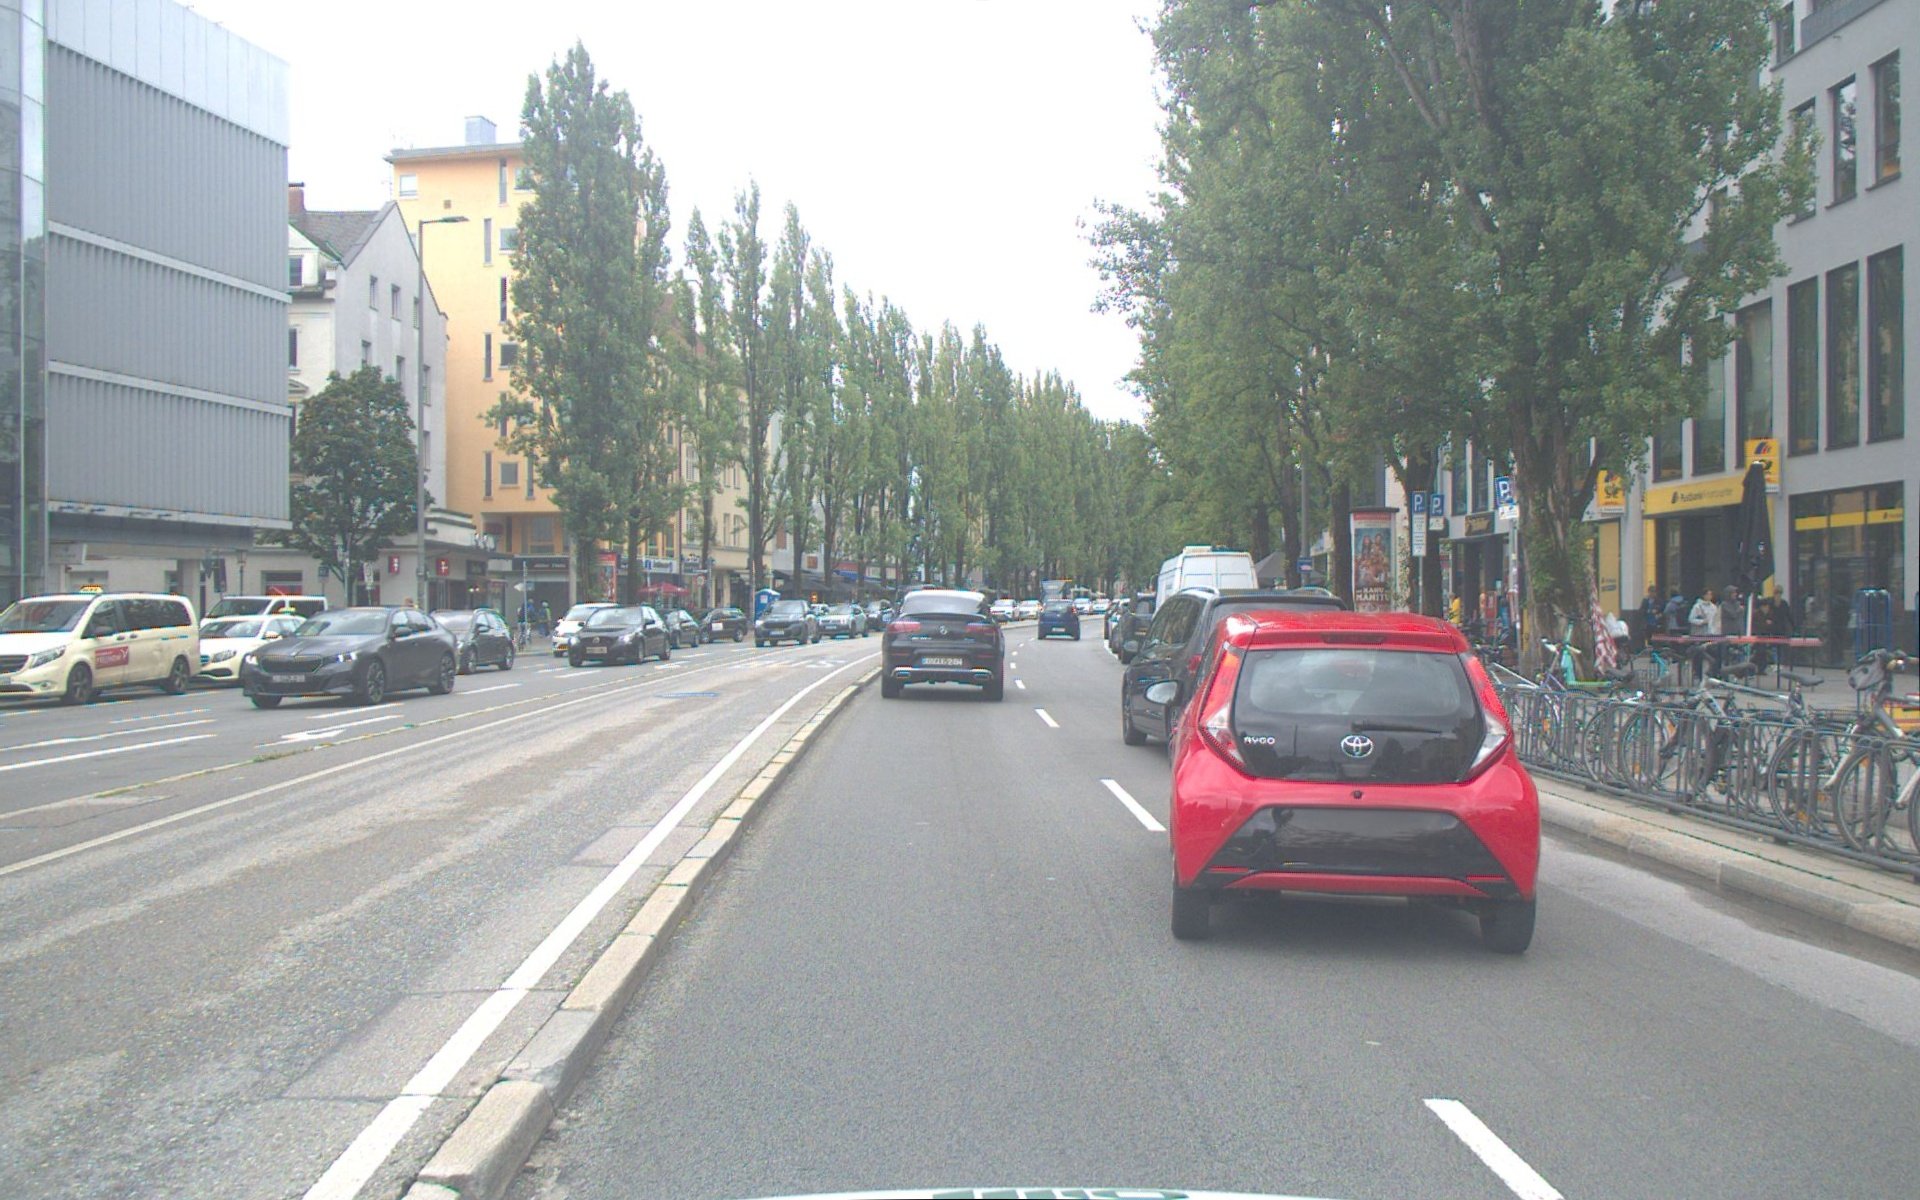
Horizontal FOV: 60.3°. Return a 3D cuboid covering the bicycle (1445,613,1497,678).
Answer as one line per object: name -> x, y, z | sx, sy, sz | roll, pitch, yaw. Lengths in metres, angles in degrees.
bicycle -> 9.675, 0.846, 31.339 | 0.468, 1.180, 1.633 | 0, 0, -1

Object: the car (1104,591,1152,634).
car -> 7.238, 0.541, 70.940 | 1.884, 1.730, 4.653 | 1, -1, 8

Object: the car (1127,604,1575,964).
car -> 1.815, 0.786, 8.711 | 1.630, 1.471, 3.597 | 1, -1, 2

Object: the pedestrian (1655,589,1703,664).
pedestrian -> 15.729, 0.569, 36.197 | 0.677, 1.613, 0.772 | -1, 0, -1

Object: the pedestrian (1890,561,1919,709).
pedestrian -> 12.114, 0.438, 20.582 | 0.776, 1.827, 0.572 | 1, -1, 5

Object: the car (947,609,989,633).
car -> 0.521, 1.286, 103.459 | 1.761, 1.419, 4.694 | -1, 0, 11

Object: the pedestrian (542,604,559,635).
pedestrian -> -19.325, 0.923, 77.994 | 0.619, 1.460, 0.778 | -1, 0, -2

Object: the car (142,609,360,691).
car -> -15.002, 1.007, 35.354 | 1.935, 1.579, 5.090 | -1, 0, 7

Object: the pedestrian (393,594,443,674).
pedestrian -> -13.103, 0.810, 39.984 | 0.771, 1.900, 0.845 | -1, 0, 29

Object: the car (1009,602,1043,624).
car -> 5.153, 0.993, 127.980 | 1.951, 1.616, 5.200 | -2, 0, 9

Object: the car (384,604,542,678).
car -> -11.598, 0.914, 38.994 | 1.918, 1.573, 4.950 | -1, 0, 4

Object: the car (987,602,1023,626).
car -> 3.231, 0.975, 117.614 | 1.869, 1.631, 4.359 | -1, 0, 10

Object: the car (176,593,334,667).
car -> -20.878, 0.839, 49.226 | 1.951, 2.049, 5.116 | -1, 0, 8

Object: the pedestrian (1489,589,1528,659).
pedestrian -> 13.966, 0.609, 42.125 | 0.707, 1.755, 0.737 | -2, 0, 36

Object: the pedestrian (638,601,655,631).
pedestrian -> -16.921, 0.862, 89.371 | 0.620, 1.589, 0.816 | -1, 0, 13

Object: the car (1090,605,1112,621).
car -> 14.869, 1.346, 174.322 | 1.898, 1.671, 4.467 | -1, 0, 11

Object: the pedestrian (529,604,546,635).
pedestrian -> -19.932, 0.913, 78.011 | 0.619, 1.460, 0.778 | -1, 0, -2

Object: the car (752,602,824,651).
car -> -6.150, 0.913, 59.585 | 1.952, 1.649, 4.414 | -2, 0, 2

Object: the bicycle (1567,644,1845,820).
bicycle -> 5.406, 0.927, 12.059 | 1.767, 1.072, 0.365 | 4, 2, 37

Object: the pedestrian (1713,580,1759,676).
pedestrian -> 14.237, 0.506, 30.364 | 0.567, 1.731, 0.597 | -1, 0, 7

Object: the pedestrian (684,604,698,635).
pedestrian -> -15.399, 1.097, 94.716 | 0.527, 1.777, 0.756 | 0, 0, 11

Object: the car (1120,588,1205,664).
car -> 5.193, 0.636, 42.886 | 1.888, 1.836, 4.782 | 1, 0, 3

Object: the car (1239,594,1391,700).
car -> 5.514, 0.684, 26.150 | 1.689, 1.479, 4.149 | 2, 0, 3

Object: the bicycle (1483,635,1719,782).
bicycle -> 5.486, 0.902, 14.218 | 1.767, 1.072, 0.544 | 4, 2, 37

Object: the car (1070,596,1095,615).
car -> 11.805, 0.484, 158.676 | 1.820, 1.741, 4.540 | -2, 0, 11

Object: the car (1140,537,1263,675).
car -> 5.240, 0.153, 36.589 | 1.952, 2.789, 5.555 | 1, -1, 1

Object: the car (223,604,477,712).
car -> -9.664, 0.858, 26.727 | 1.952, 1.534, 5.024 | -1, 0, 4

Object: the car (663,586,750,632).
car -> -10.604, 0.403, 69.505 | 1.721, 1.848, 3.998 | 1, -1, 23

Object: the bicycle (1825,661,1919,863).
bicycle -> 5.533, 0.903, 8.586 | 1.770, 1.028, 0.384 | 4, 2, 42

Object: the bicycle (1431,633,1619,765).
bicycle -> 5.315, 0.907, 15.597 | 1.546, 1.072, 0.544 | 4, 2, 37

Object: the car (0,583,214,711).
car -> -15.570, 0.781, 29.467 | 1.952, 2.049, 5.323 | -2, 0, 2

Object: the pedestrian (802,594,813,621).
pedestrian -> -10.743, 0.516, 116.533 | 0.624, 1.894, 0.648 | -1, 0, 11

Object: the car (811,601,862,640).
car -> -5.489, 0.893, 74.057 | 1.779, 1.572, 4.001 | -3, 0, 2

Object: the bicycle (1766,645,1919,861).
bicycle -> 5.543, 0.882, 9.217 | 1.767, 1.124, 0.544 | 4, 2, 38

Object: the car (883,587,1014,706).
car -> -0.177, 0.657, 25.825 | 1.842, 1.670, 4.582 | -1, 0, 0

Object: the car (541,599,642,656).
car -> -11.270, 0.805, 50.851 | 1.952, 1.628, 4.291 | -1, 0, 2

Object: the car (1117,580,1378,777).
car -> 2.617, 0.664, 15.996 | 1.725, 1.642, 4.183 | 0, 0, -1

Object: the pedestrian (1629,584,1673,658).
pedestrian -> 15.766, 0.470, 37.766 | 0.676, 1.678, 0.798 | -1, 0, 2

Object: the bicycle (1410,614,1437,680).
bicycle -> 8.715, 0.863, 31.105 | 0.467, 1.180, 1.826 | 0, 0, 15

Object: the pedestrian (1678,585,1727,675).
pedestrian -> 13.594, 0.541, 30.292 | 0.628, 1.611, 0.635 | -1, 0, 7

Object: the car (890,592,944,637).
car -> -2.600, 0.875, 102.760 | 2.123, 2.651, 6.069 | -1, 0, 10

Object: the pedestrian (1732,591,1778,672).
pedestrian -> 15.074, 0.589, 31.350 | 0.636, 1.502, 0.756 | 0, -1, 37

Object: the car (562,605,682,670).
car -> -8.541, 0.909, 42.178 | 1.797, 1.513, 4.737 | -1, 0, 4

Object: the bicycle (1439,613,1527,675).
bicycle -> 10.282, 0.861, 32.535 | 1.593, 1.180, 0.705 | 0, 0, 12

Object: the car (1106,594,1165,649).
car -> 5.772, 0.685, 54.819 | 1.691, 1.716, 4.410 | 0, 0, 3

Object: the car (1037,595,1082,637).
car -> 4.088, 0.669, 67.442 | 1.722, 1.648, 3.749 | 1, -1, 5

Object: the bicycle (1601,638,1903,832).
bicycle -> 5.446, 0.888, 11.435 | 1.767, 1.124, 0.544 | 4, 2, 38

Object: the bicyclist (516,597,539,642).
bicyclist -> -15.638, 0.711, 59.786 | 0.491, 1.620, 0.835 | -1, 0, 11

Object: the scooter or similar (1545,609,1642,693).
scooter or similar -> 9.684, 0.768, 25.280 | 1.442, 1.228, 0.398 | -1, 0, -20

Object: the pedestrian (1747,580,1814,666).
pedestrian -> 16.141, 0.447, 32.567 | 0.783, 1.665, 1.023 | -1, 0, -1

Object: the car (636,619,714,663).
car -> -10.262, 1.463, 59.872 | 1.693, 1.433, 4.690 | -1, 0, 4

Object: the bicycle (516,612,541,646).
bicycle -> -15.598, 1.041, 59.813 | 0.360, 1.222, 1.155 | -1, 0, 12
